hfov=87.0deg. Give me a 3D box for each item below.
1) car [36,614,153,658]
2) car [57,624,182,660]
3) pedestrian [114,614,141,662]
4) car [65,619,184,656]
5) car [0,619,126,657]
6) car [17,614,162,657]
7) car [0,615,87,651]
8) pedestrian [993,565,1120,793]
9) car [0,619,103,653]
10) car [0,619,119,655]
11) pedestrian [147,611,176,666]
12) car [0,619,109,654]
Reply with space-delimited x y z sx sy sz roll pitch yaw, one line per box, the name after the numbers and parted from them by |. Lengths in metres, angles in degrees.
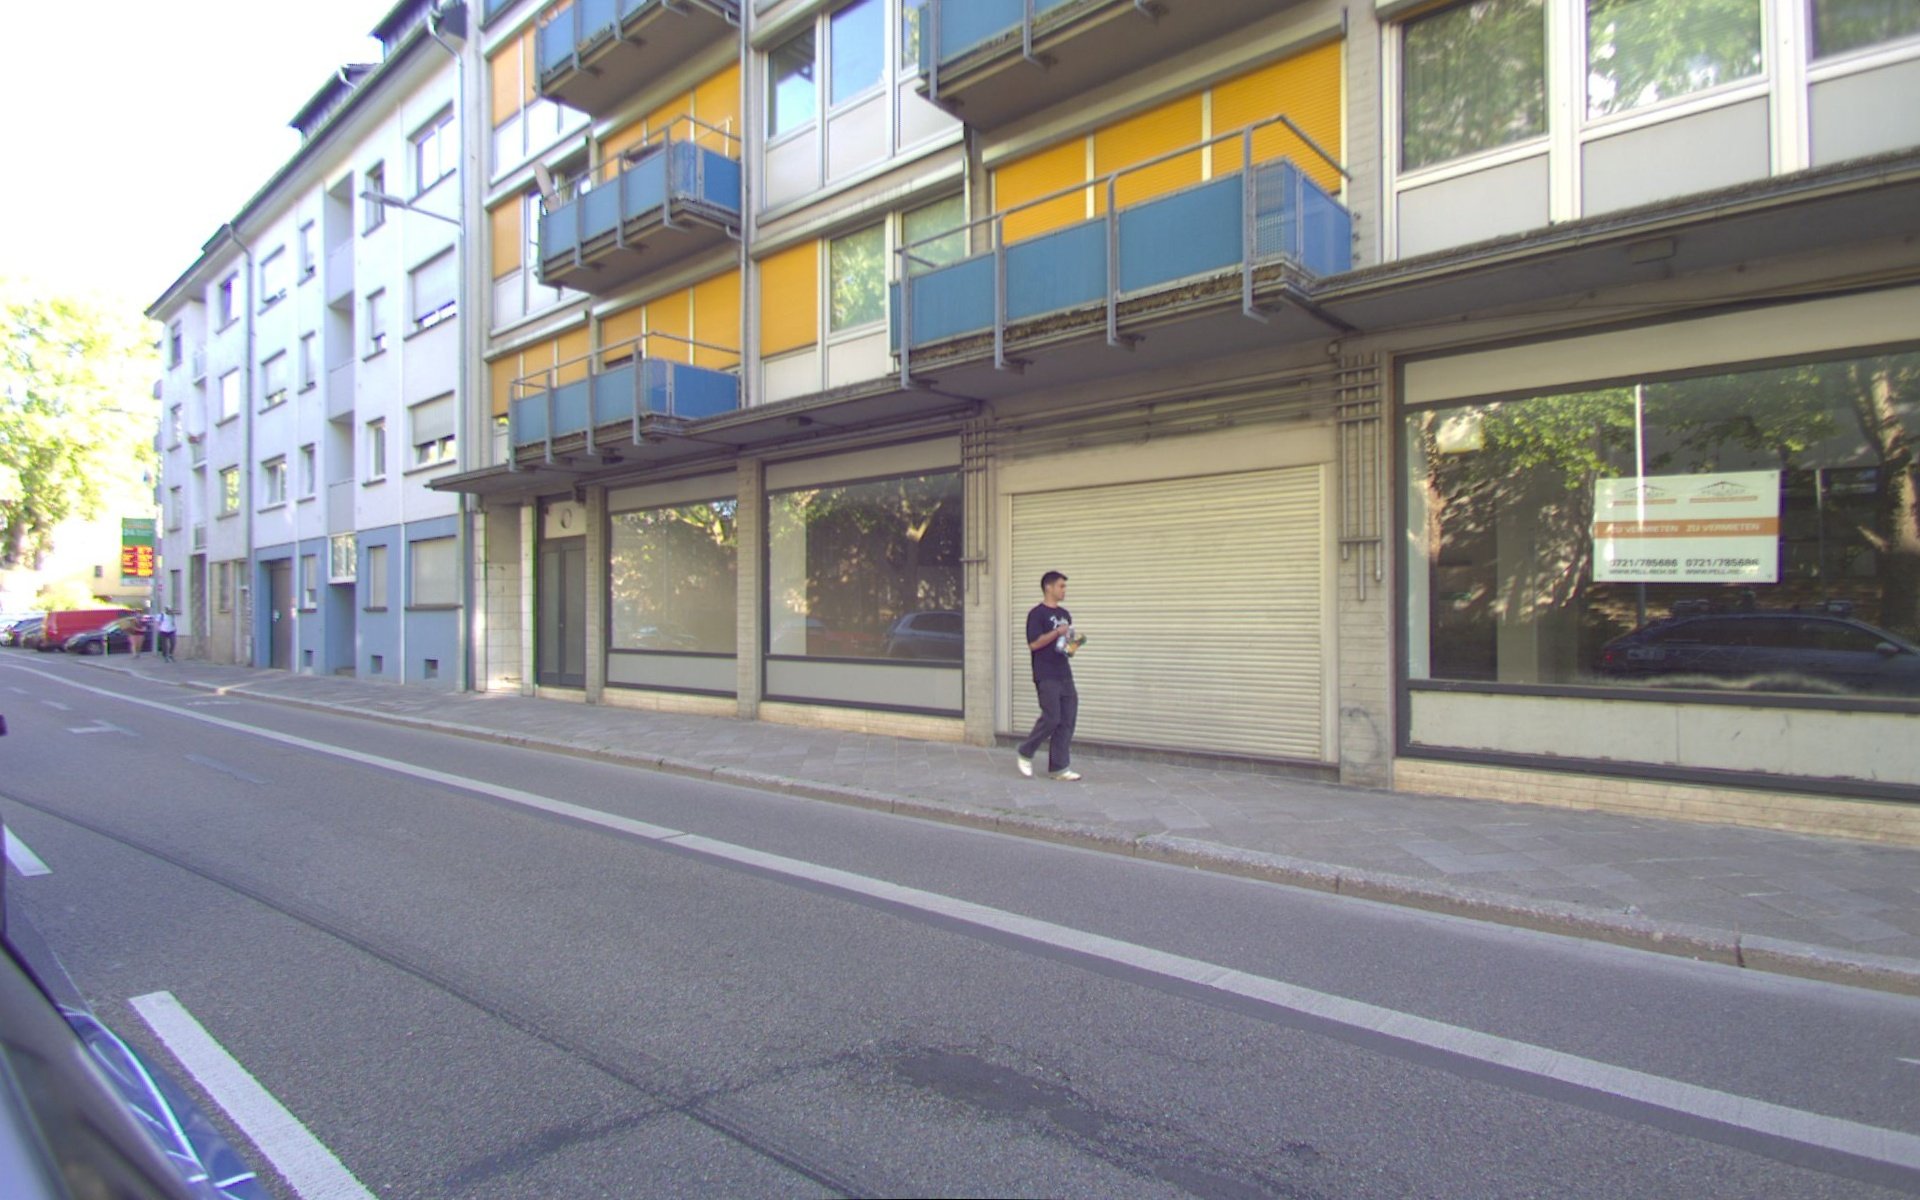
-40.591 1.633 47.521 1.866 1.952 3.946 -1 -1 41 | car
-36.554 1.787 44.082 1.742 1.431 3.946 -1 -1 41 | car
-29.235 1.313 35.557 0.842 1.654 0.596 -1 0 41 | pedestrian
-37.878 1.677 45.948 1.742 1.572 3.946 -1 -1 41 | car
-50.298 2.085 56.835 2.186 1.952 5.077 -1 -1 41 | car
-42.692 1.700 49.719 2.256 1.995 5.156 -1 -1 41 | car
-59.345 2.096 64.718 2.186 2.164 5.077 -1 -1 41 | car
0.803 0.620 8.447 0.793 1.785 0.655 -1 -1 41 | pedestrian
-55.971 2.157 61.992 2.314 1.952 4.978 -1 -1 41 | car
-52.237 2.108 58.724 2.159 1.952 4.990 -1 -1 41 | car
-25.707 1.227 32.568 0.756 1.760 0.600 -1 0 41 | pedestrian
-54.123 2.129 60.360 2.082 1.952 4.928 -1 -1 41 | car
